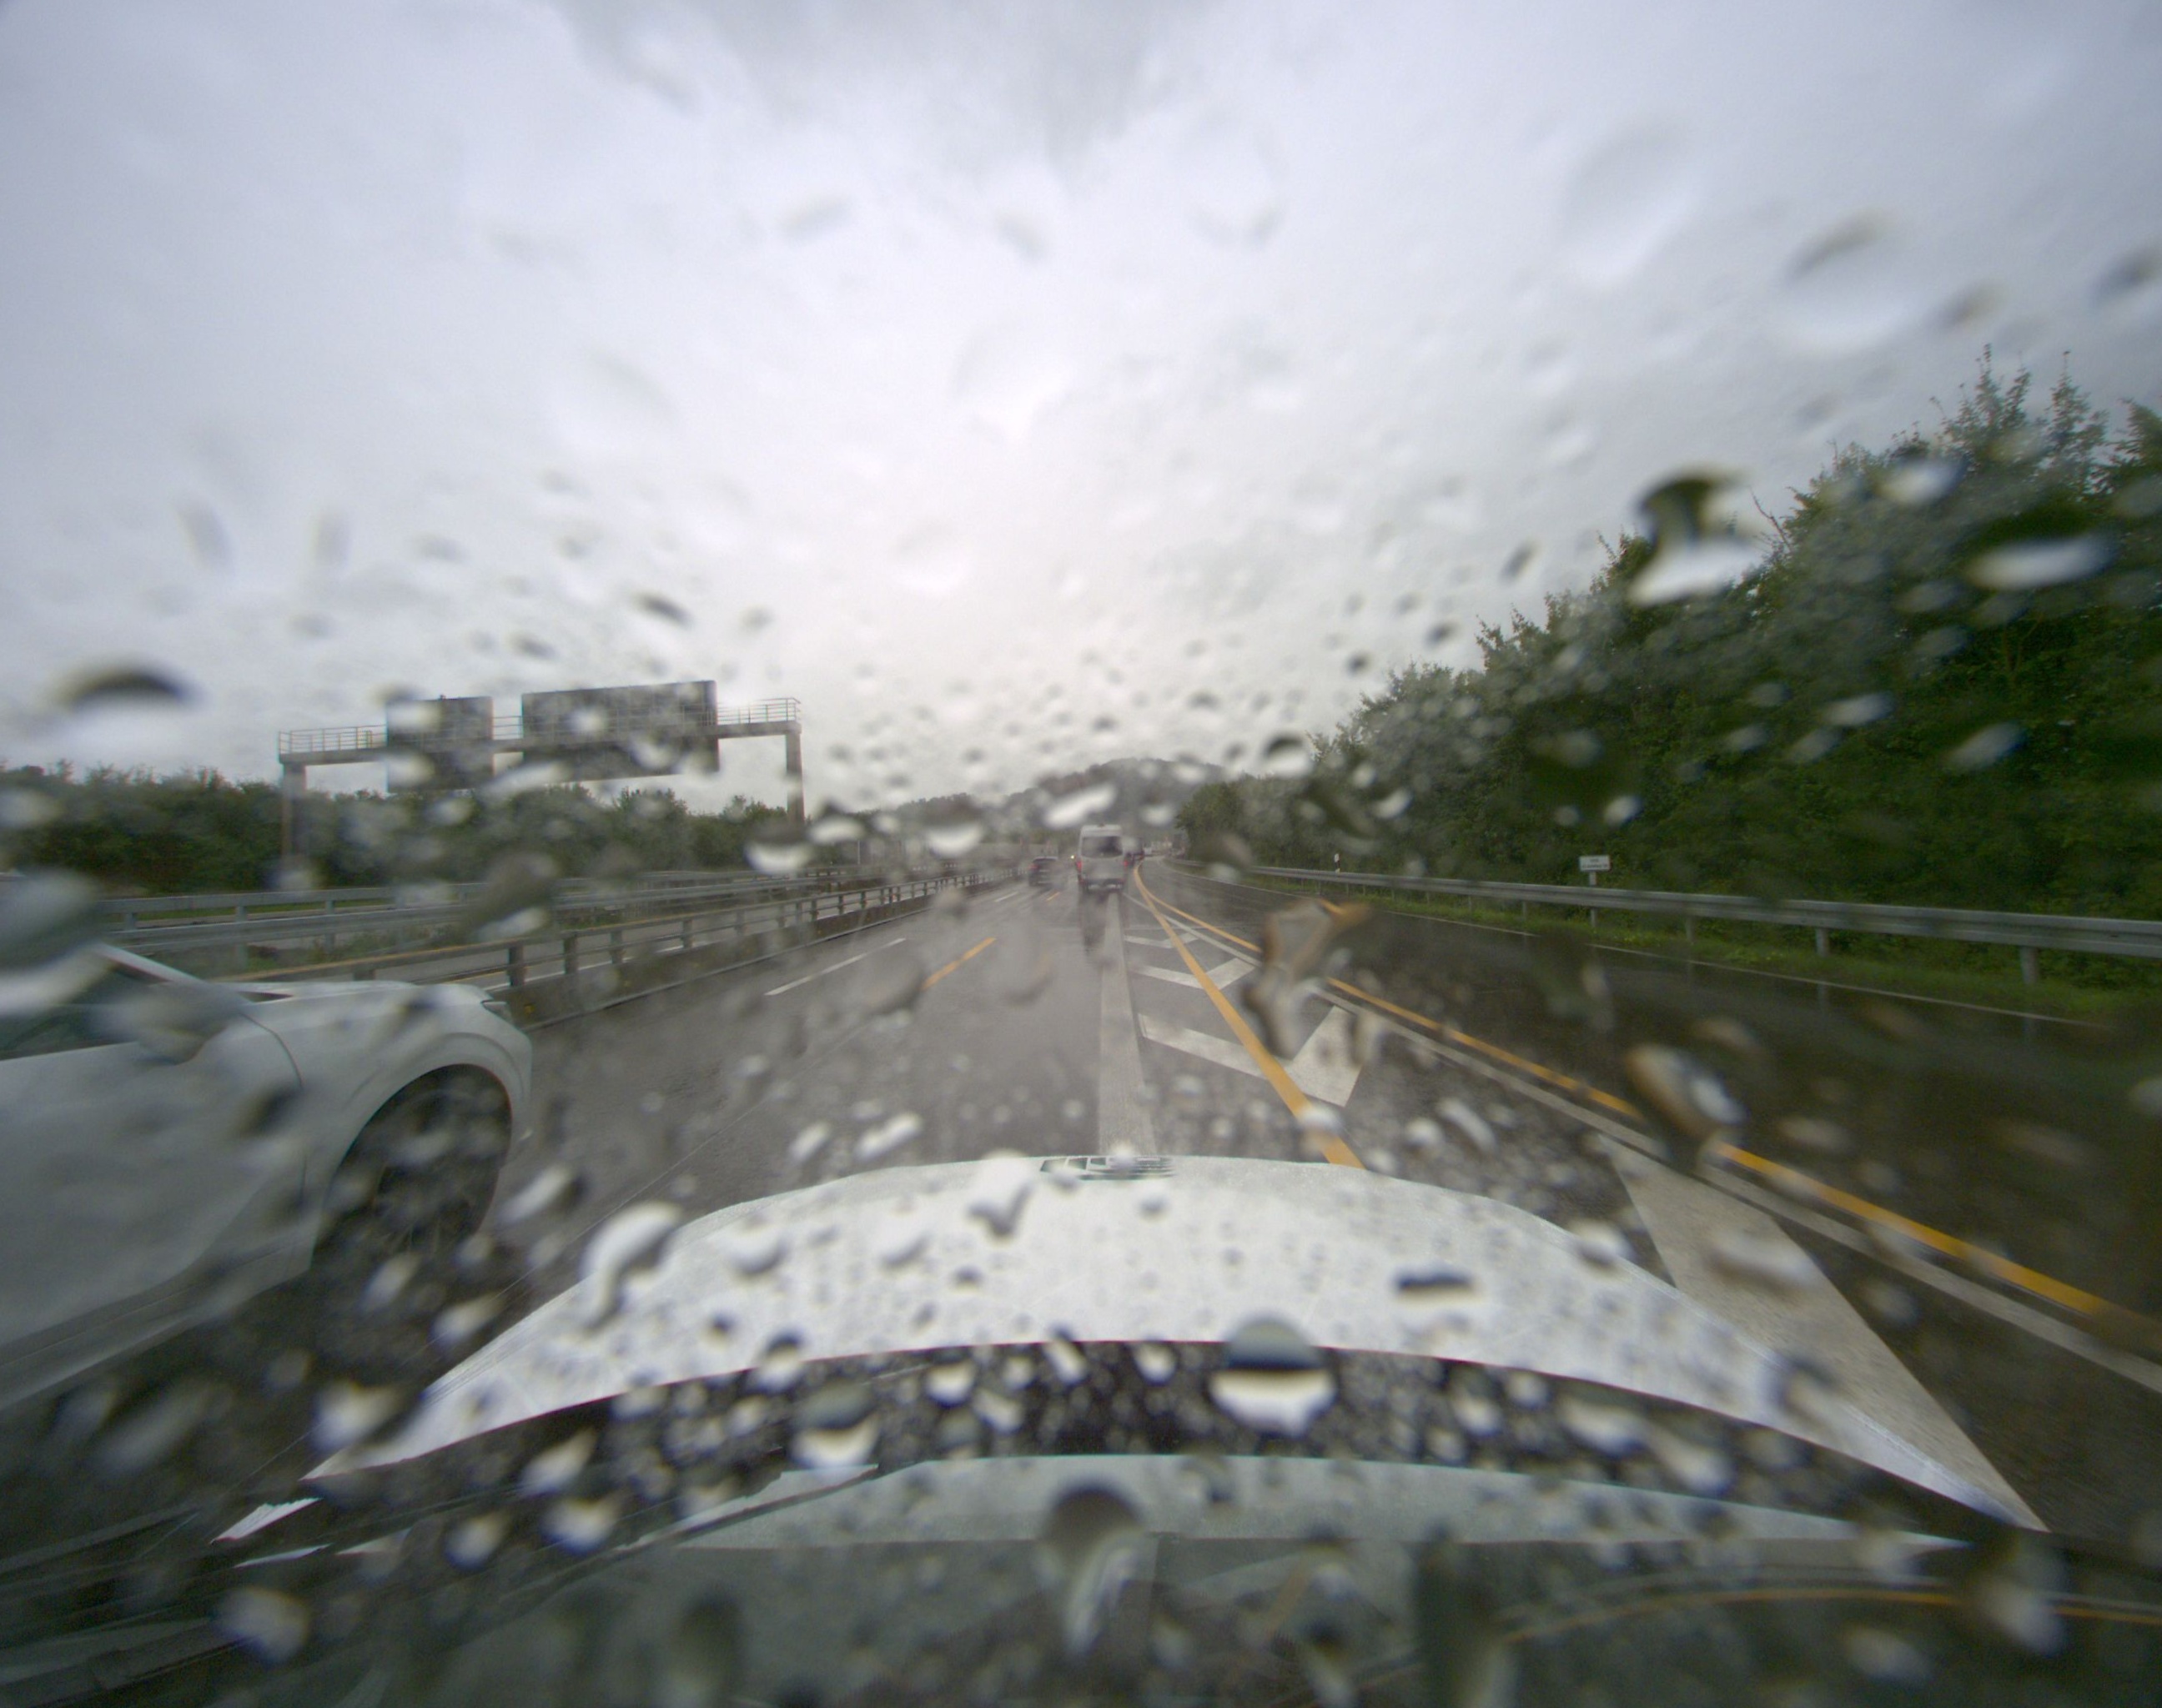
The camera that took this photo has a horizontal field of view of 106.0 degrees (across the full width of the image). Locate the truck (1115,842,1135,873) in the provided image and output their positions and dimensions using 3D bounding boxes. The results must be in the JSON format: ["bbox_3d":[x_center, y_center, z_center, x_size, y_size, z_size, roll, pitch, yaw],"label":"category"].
[{"bbox_3d":[4.738,0.345,87.240,1.985,3.109,8.506,-1,0,3],"label":"truck"}]

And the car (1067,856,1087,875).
[{"bbox_3d":[-0.357,1.032,74.933,1.701,1.627,4.000,-1,0,1],"label":"car"}]

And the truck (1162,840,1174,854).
[{"bbox_3d":[27.846,-2.103,259.605,2.879,4.406,9.656,-1,0,12],"label":"truck"}]

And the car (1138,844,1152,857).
[{"bbox_3d":[14.832,-0.834,188.064,2.882,2.887,6.426,-1,0,8],"label":"car"}]

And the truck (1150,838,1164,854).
[{"bbox_3d":[21.233,-2.117,225.902,3.017,4.406,9.651,-1,0,10],"label":"truck"}]

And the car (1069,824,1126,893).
[{"bbox_3d":[0.779,0.171,33.527,2.136,2.571,5.393,-1,0,3],"label":"car"}]

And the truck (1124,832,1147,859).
[{"bbox_3d":[9.479,-1.356,140.840,3.563,4.406,9.639,-1,0,6],"label":"truck"}]

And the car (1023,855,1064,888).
[{"bbox_3d":[-1.832,0.857,41.078,1.941,1.561,3.998,-1,0,-1],"label":"car"}]

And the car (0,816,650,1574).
[{"bbox_3d":[-3.305,0.740,1.822,1.986,1.617,4.798,-1,0,2],"label":"car"}]
